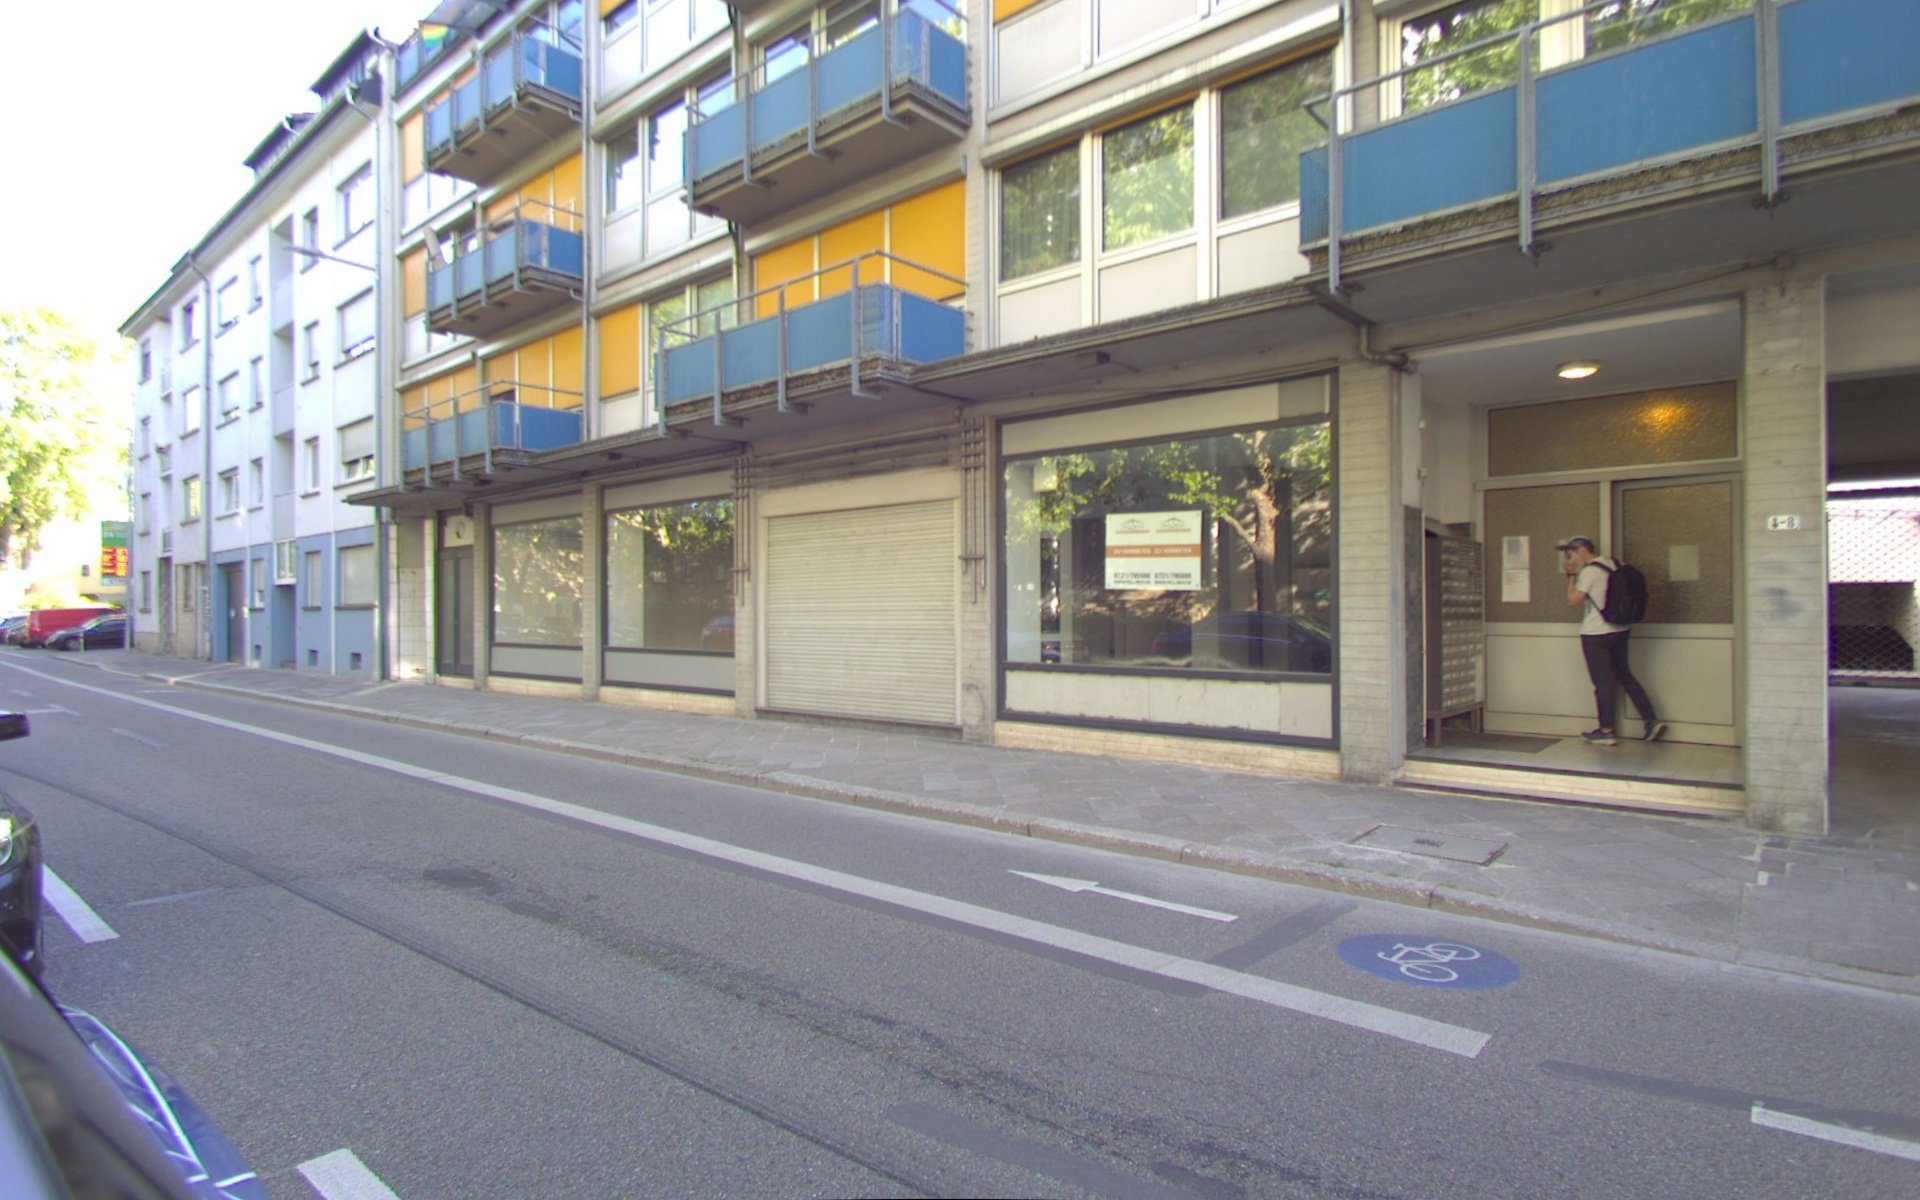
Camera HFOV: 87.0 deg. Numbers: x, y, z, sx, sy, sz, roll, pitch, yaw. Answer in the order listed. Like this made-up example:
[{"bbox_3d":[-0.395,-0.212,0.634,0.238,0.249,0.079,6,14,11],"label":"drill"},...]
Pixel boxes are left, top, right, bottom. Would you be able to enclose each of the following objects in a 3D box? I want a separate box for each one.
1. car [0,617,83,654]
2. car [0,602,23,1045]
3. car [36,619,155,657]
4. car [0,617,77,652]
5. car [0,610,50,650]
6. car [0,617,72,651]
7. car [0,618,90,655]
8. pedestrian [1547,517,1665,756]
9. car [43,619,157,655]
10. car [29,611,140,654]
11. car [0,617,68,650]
[{"bbox_3d":[-53.534,2.037,58.625,2.000,1.962,3.944,-1,0,42],"label":"car"},{"bbox_3d":[-5.535,0.805,4.294,4.479,1.512,1.842,-1,-1,41],"label":"car"},{"bbox_3d":[-39.770,1.725,46.619,2.000,1.564,3.944,-1,0,42],"label":"car"},{"bbox_3d":[-55.615,2.064,60.578,2.000,1.962,3.944,-1,0,42],"label":"car"},{"bbox_3d":[-62.813,1.958,66.798,2.000,2.538,3.944,-1,0,42],"label":"car"},{"bbox_3d":[-57.421,2.087,62.296,2.000,1.962,3.944,-1,0,42],"label":"car"},{"bbox_3d":[-51.584,2.011,56.843,2.000,1.962,3.944,-1,0,42],"label":"car"},{"bbox_3d":[5.388,0.291,8.460,0.784,1.894,0.575,-1,0,33],"label":"pedestrian"},{"bbox_3d":[-41.189,1.743,48.540,2.000,1.564,3.944,-1,0,42],"label":"car"},{"bbox_3d":[-43.444,1.573,50.265,2.000,1.962,3.944,-1,0,42],"label":"car"},{"bbox_3d":[-59.221,2.111,64.029,2.000,1.962,3.944,-1,0,42],"label":"car"}]
